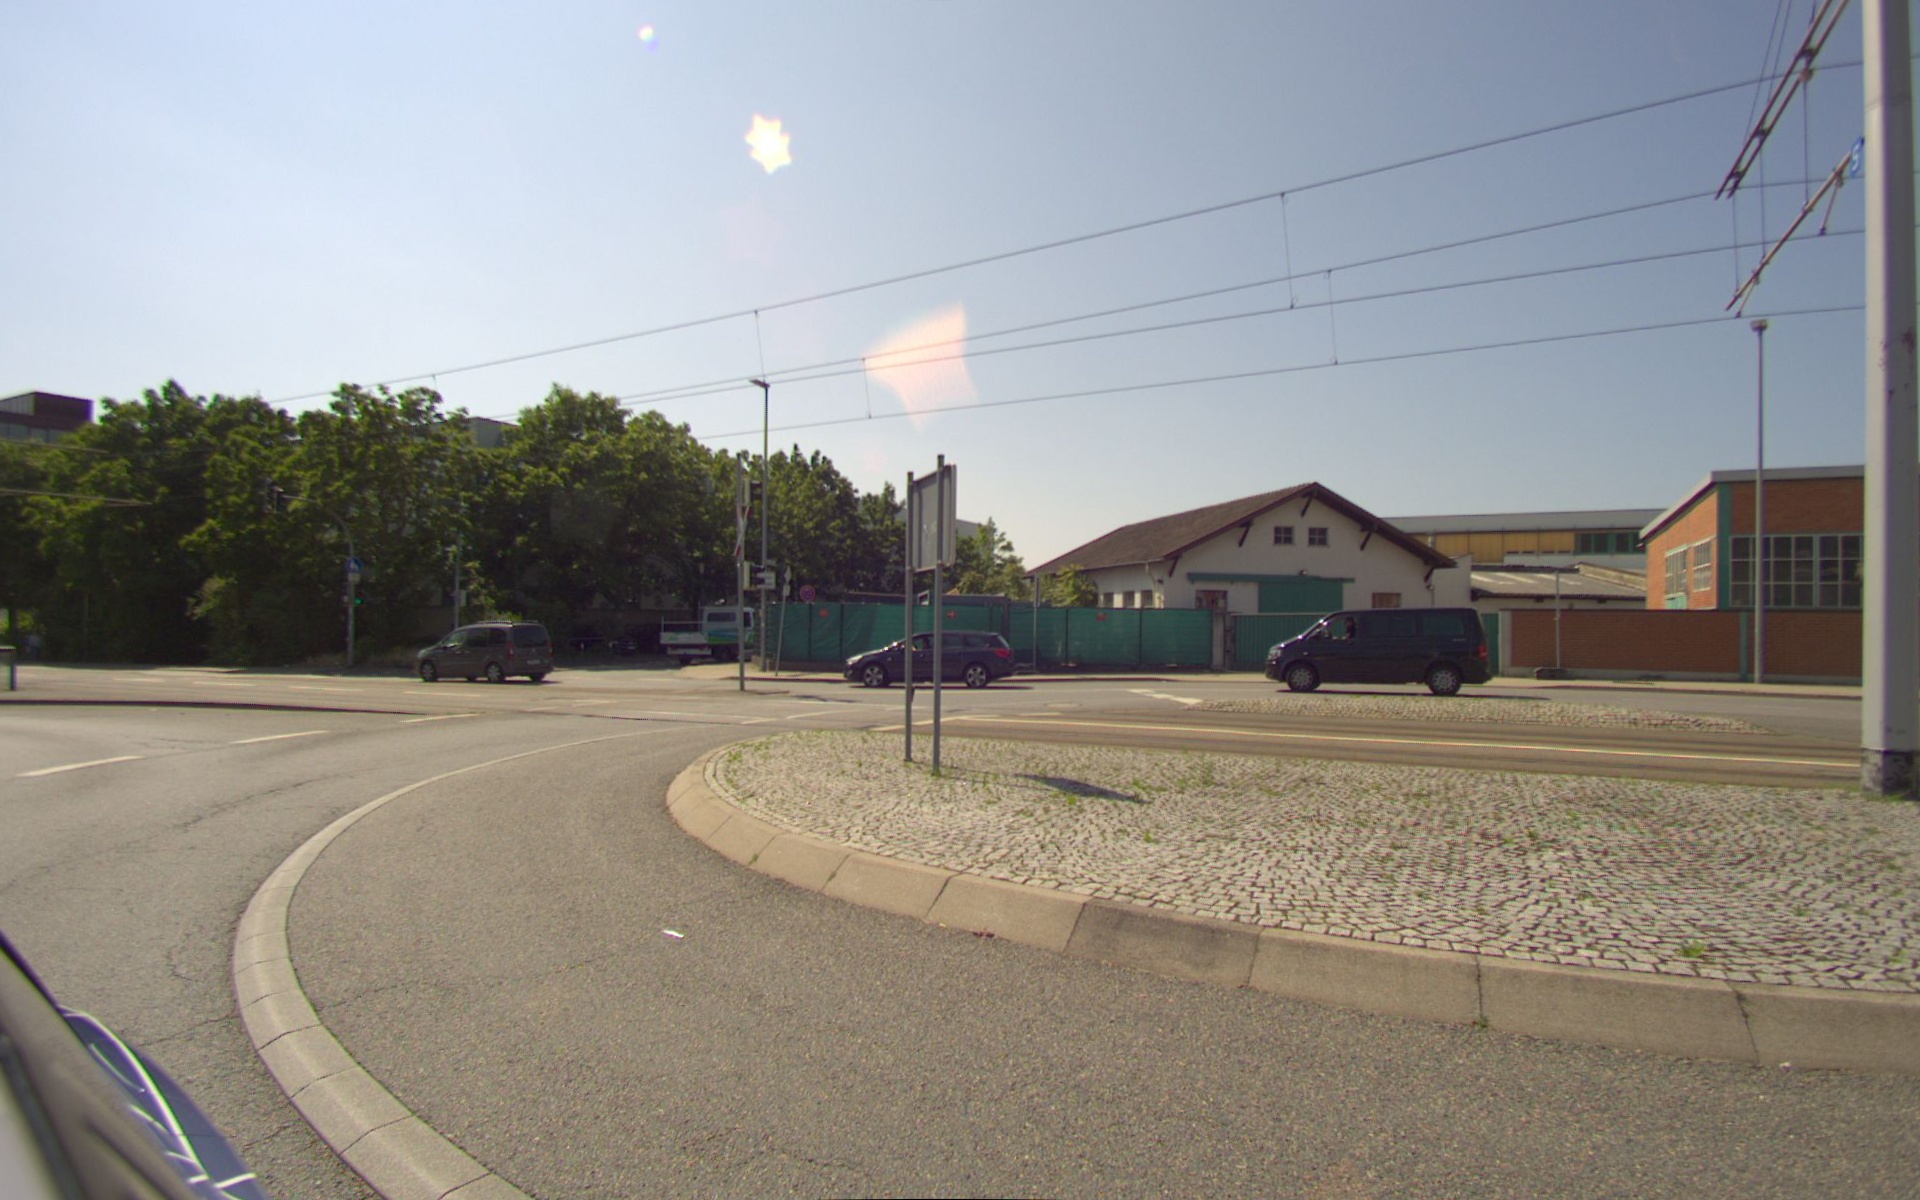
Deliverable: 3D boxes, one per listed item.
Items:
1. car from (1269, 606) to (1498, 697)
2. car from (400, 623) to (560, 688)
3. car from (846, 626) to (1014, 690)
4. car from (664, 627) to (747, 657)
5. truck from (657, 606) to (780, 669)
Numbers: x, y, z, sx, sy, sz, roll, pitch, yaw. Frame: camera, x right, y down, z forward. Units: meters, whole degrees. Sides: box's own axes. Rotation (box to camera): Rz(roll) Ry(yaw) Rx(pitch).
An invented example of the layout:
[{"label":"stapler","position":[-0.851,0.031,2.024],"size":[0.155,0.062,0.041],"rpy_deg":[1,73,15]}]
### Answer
[{"label":"car","position":[9.704,1.187,23.355],"size":[4.614,1.925,2.079],"rpy_deg":[-2,-3,26]},{"label":"car","position":[-14.464,1.629,30.500],"size":[4.380,1.832,1.974],"rpy_deg":[-1,-2,23]},{"label":"car","position":[-0.732,1.516,26.637],"size":[4.192,1.568,1.965],"rpy_deg":[-1,-2,7]},{"label":"car","position":[-12.882,2.110,51.382],"size":[3.817,1.478,1.624],"rpy_deg":[0,-2,4]},{"label":"truck","position":[-9.733,1.491,41.508],"size":[2.189,2.355,6.358],"rpy_deg":[-2,-2,15]}]
